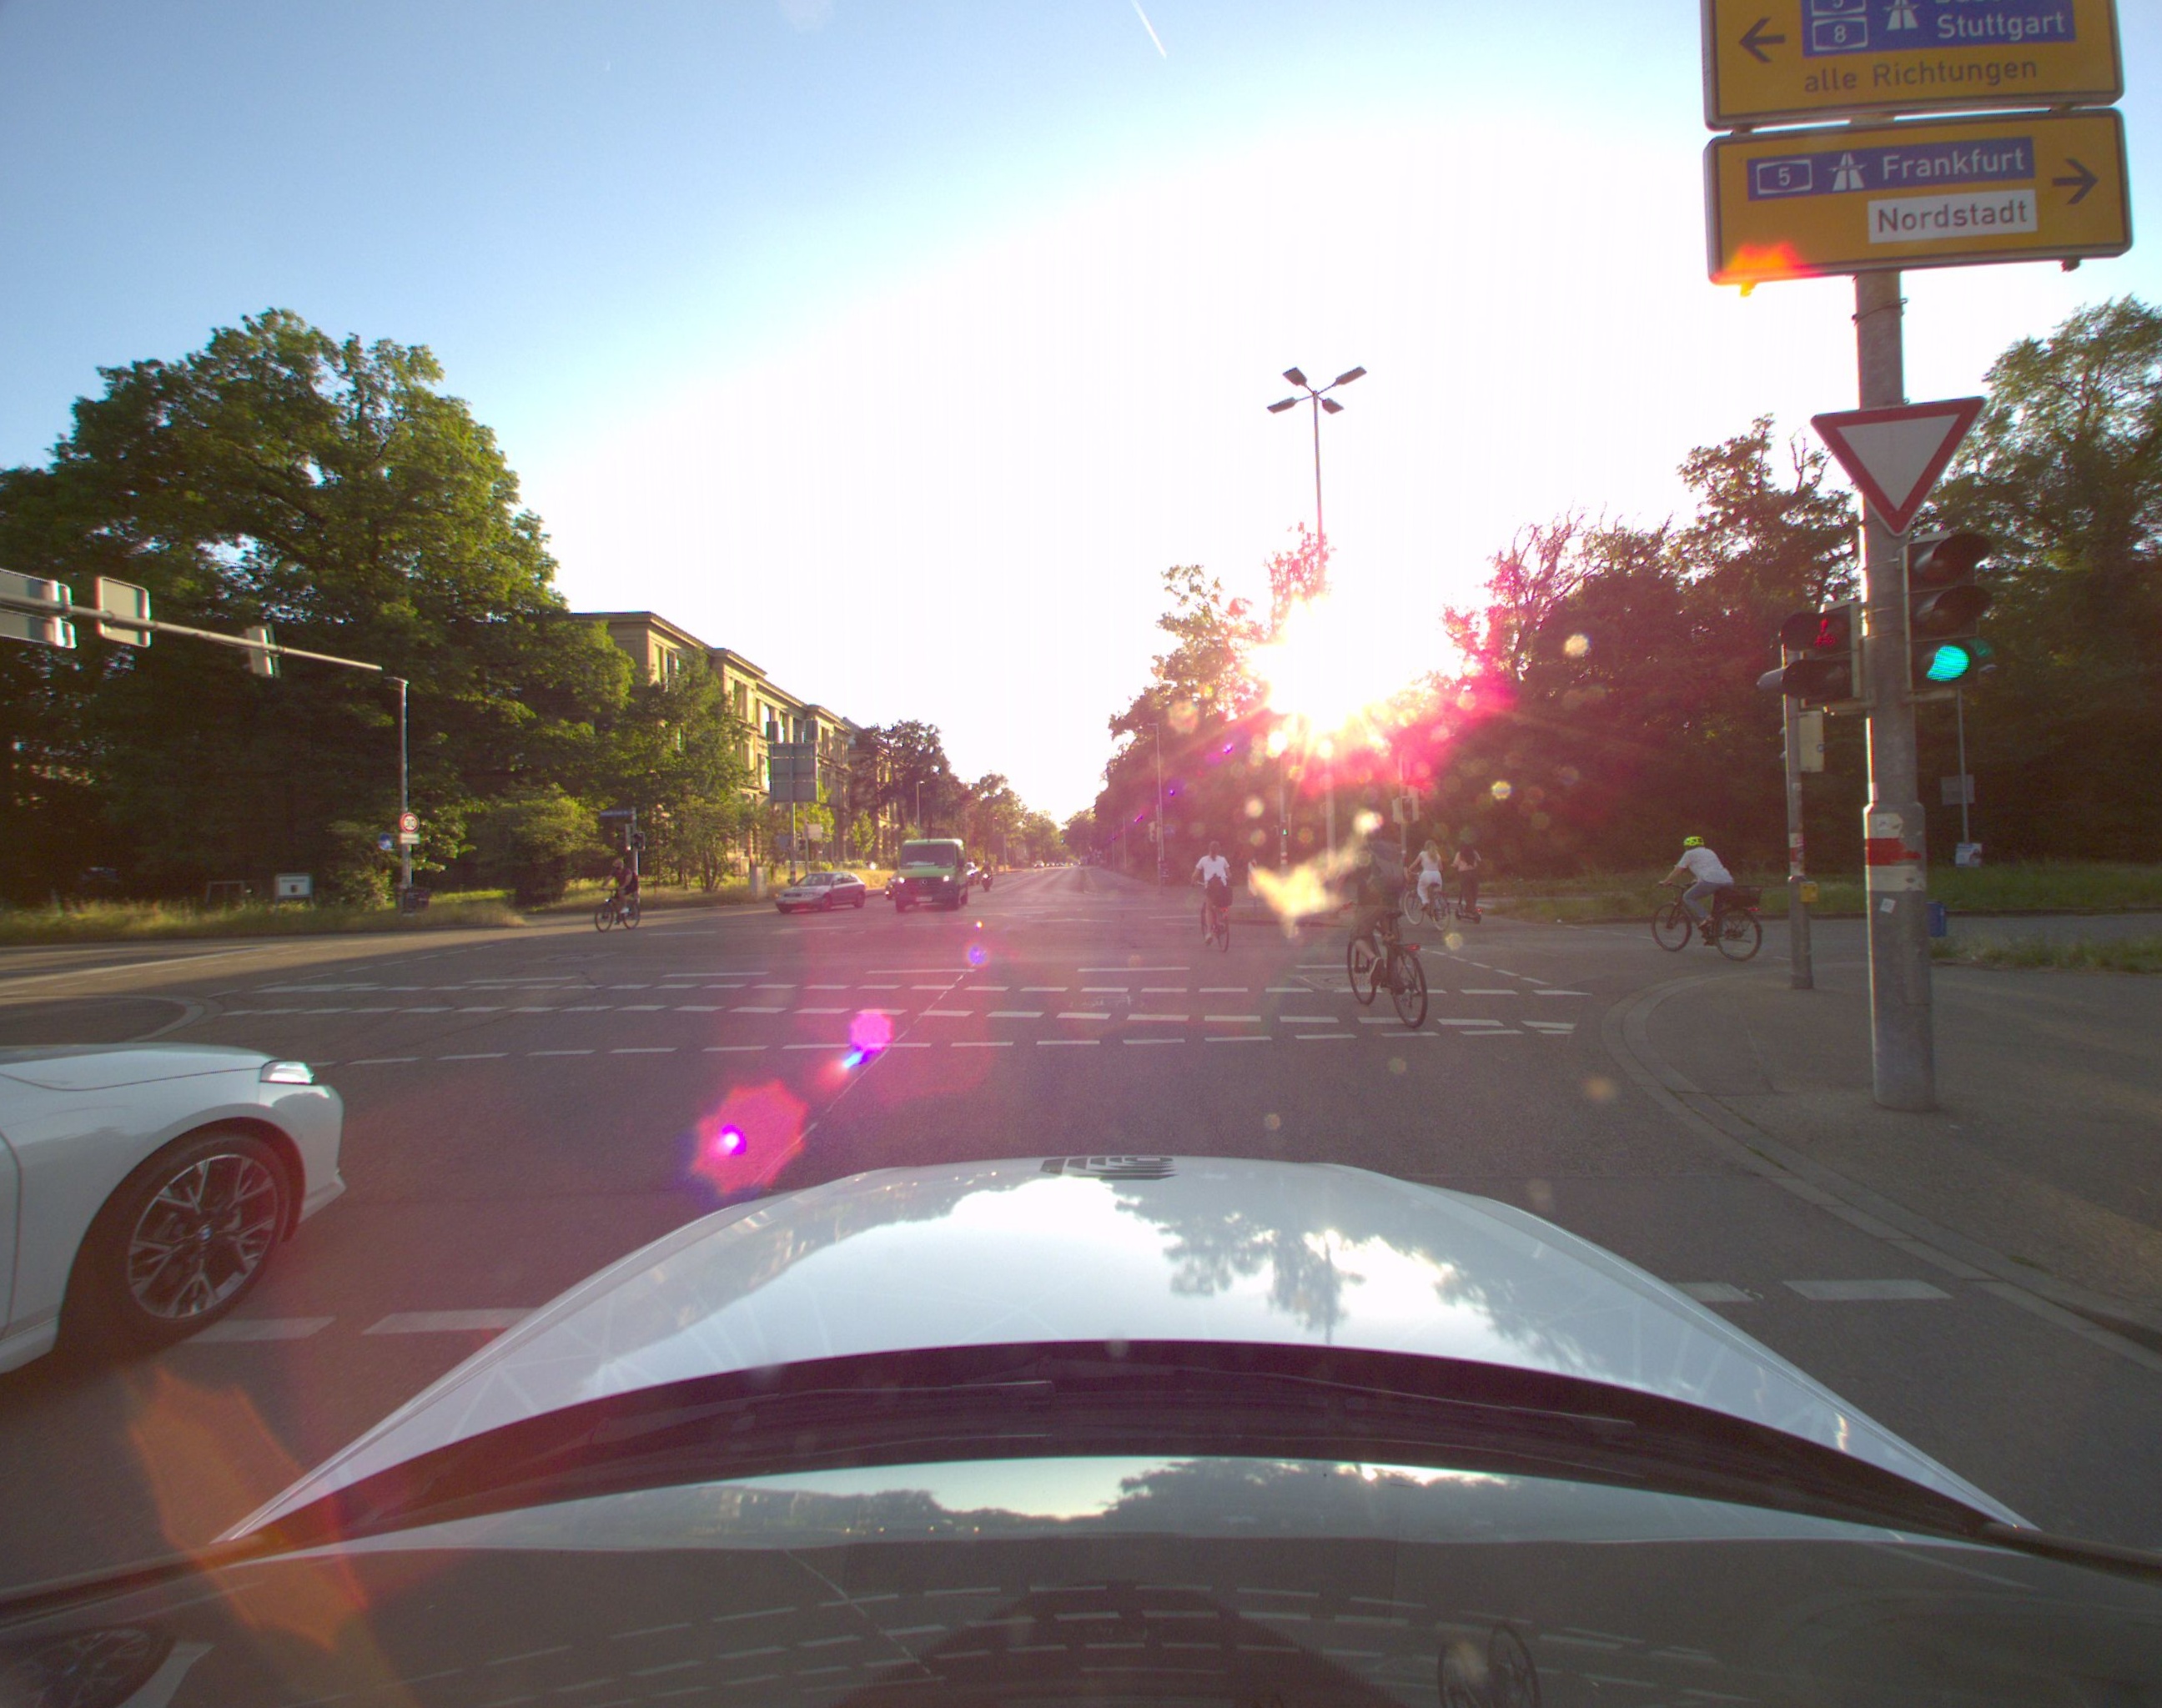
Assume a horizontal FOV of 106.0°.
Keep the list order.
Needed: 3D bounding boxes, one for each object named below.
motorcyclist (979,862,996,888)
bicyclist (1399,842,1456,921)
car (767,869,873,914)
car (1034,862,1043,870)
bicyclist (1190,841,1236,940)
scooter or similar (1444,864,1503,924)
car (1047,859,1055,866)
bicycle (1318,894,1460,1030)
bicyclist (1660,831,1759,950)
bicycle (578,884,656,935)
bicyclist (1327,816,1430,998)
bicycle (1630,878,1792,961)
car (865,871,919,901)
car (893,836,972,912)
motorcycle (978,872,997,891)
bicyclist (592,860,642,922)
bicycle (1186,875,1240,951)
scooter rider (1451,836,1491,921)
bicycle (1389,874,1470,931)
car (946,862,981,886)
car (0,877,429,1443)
[{"bbox_3d":[-5.081,1.142,44.314,0.747,1.358,0.704,-2,-1,0],"label":"motorcyclist"},{"bbox_3d":[6.890,0.539,16.231,0.757,1.518,0.857,-1,-1,1],"label":"bicyclist"},{"bbox_3d":[-9.285,1.297,29.361,1.718,1.409,4.154,-2,-1,12],"label":"car"},{"bbox_3d":[-8.574,2.442,163.942,1.766,1.474,3.771,-2,-1,-3],"label":"car"},{"bbox_3d":[2.187,0.589,13.568,0.601,1.586,0.910,-1,-1,0],"label":"bicyclist"},{"bbox_3d":[8.266,0.820,17.212,0.560,1.189,1.422,-1,-1,2],"label":"scooter or similar"},{"bbox_3d":[-7.615,2.196,209.445,1.989,1.640,3.996,-2,-1,-3],"label":"car"},{"bbox_3d":[2.852,0.956,7.759,0.696,1.063,1.825,-1,-1,1],"label":"bicycle"},{"bbox_3d":[8.690,0.487,11.288,0.554,1.569,0.894,-1,-1,-14],"label":"bicyclist"},{"bbox_3d":[-11.690,1.374,20.613,0.684,1.123,2.169,-2,-1,1],"label":"bicycle"},{"bbox_3d":[2.848,0.490,7.864,0.696,1.667,0.798,0,-1,1],"label":"bicyclist"},{"bbox_3d":[8.689,0.863,11.337,0.564,1.014,1.793,-1,-1,-14],"label":"bicycle"},{"bbox_3d":[-9.306,1.538,40.455,1.759,1.328,3.643,-2,-1,1],"label":"car"},{"bbox_3d":[-4.975,0.653,28.007,2.035,2.278,5.930,-2,-1,-5],"label":"car"},{"bbox_3d":[-5.067,1.488,44.343,0.751,1.001,1.879,-2,-1,1],"label":"motorcycle"},{"bbox_3d":[-11.704,0.910,20.568,0.681,1.512,0.956,-2,-1,0],"label":"bicyclist"},{"bbox_3d":[2.196,0.951,13.698,0.611,1.138,1.884,-1,-1,1],"label":"bicycle"},{"bbox_3d":[8.260,0.521,17.261,0.563,1.767,0.505,-2,-1,1],"label":"scooter rider"},{"bbox_3d":[6.897,0.926,16.244,0.768,1.007,2.016,-1,0,1],"label":"bicycle"},{"bbox_3d":[-8.489,1.429,59.084,1.758,1.635,4.513,-2,-1,1],"label":"car"},{"bbox_3d":[-3.735,0.836,1.455,1.746,1.466,4.187,-2,-1,0],"label":"car"}]
